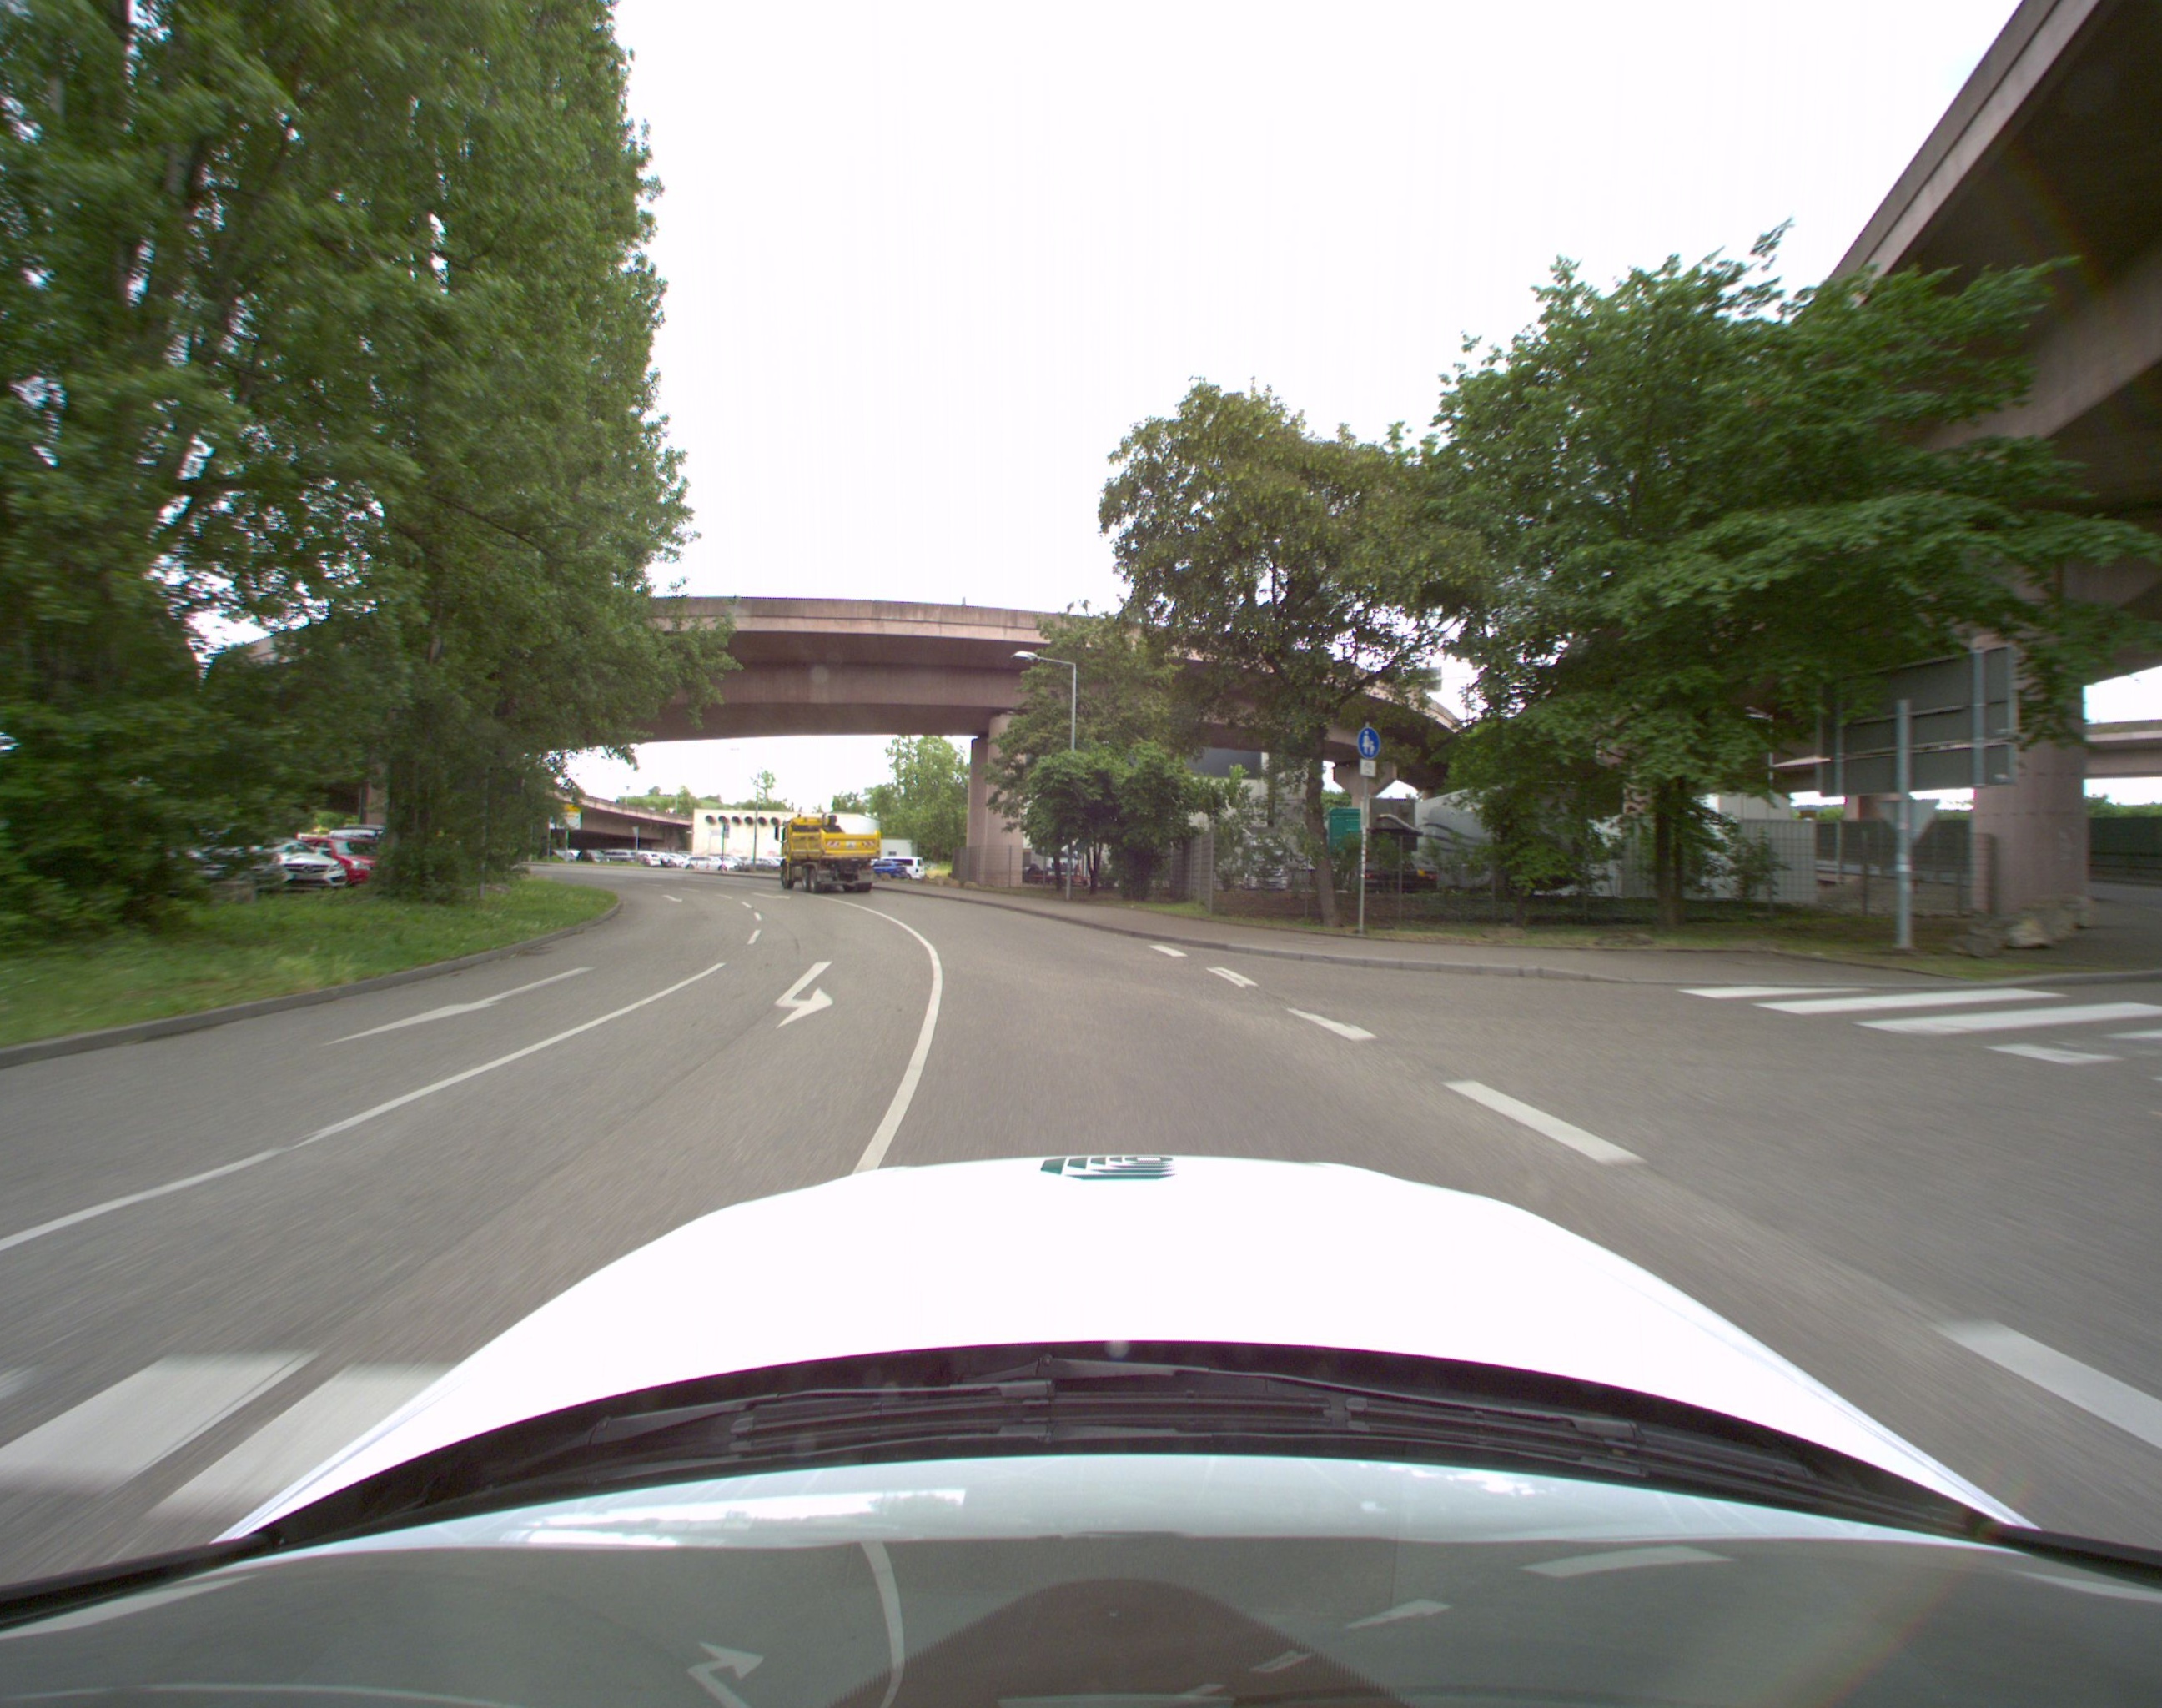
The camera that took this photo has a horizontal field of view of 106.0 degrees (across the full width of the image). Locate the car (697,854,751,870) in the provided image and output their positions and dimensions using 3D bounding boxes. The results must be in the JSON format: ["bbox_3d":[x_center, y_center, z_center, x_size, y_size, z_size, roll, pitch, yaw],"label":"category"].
[{"bbox_3d":[-32.255,0.714,73.716,3.975,1.442,1.999,0,-2,-1],"label":"car"}]

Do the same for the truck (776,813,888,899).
[{"bbox_3d":[-11.641,0.087,37.476,2.946,3.481,8.162,-1,0,-31],"label":"truck"}]

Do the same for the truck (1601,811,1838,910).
[{"bbox_3d":[20.959,0.178,27.336,2.905,2.899,6.559,0,0,1],"label":"truck"}]

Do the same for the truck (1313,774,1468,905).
[{"bbox_3d":[10.411,-0.452,28.266,3.053,3.963,6.928,0,0,3],"label":"truck"}]

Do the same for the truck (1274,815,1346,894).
[{"bbox_3d":[14.733,0.008,52.969,3.187,4.780,8.061,0,0,6],"label":"truck"}]

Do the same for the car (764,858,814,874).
[{"bbox_3d":[-27.616,1.150,77.063,3.975,1.442,1.999,0,-2,-1],"label":"car"}]

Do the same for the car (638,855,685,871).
[{"bbox_3d":[-43.868,0.919,85.228,3.858,1.633,1.776,0,-2,-1],"label":"car"}]

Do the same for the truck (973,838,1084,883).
[{"bbox_3d":[-3.337,0.405,49.966,7.141,2.552,2.740,-1,-1,45],"label":"truck"}]

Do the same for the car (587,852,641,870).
[{"bbox_3d":[-43.329,0.632,75.594,3.859,1.633,1.775,0,-2,-2],"label":"car"}]

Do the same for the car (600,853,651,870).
[{"bbox_3d":[-43.674,0.736,78.149,3.858,1.633,1.776,0,-2,-1],"label":"car"}]

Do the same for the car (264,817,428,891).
[{"bbox_3d":[-21.569,-0.010,23.899,4.395,2.014,2.011,1,-1,26],"label":"car"}]

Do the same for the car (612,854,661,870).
[{"bbox_3d":[-44.011,0.798,80.669,3.858,1.633,1.776,0,-2,-1],"label":"car"}]

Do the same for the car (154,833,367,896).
[{"bbox_3d":[-20.562,0.289,20.417,4.734,1.443,2.133,-1,-2,23],"label":"car"}]

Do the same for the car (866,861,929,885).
[{"bbox_3d":[-14.345,1.510,63.749,4.289,1.857,2.005,0,-2,9],"label":"car"}]

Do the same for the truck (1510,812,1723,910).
[{"bbox_3d":[17.529,0.183,27.300,2.905,2.899,6.559,0,0,1],"label":"truck"}]

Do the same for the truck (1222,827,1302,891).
[{"bbox_3d":[11.037,0.250,50.424,3.046,3.619,7.912,0,1,-1],"label":"truck"}]

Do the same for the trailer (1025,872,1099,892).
[{"bbox_3d":[-1.105,1.416,42.060,2.155,0.743,6.255,-2,1,-18],"label":"trailer"}]

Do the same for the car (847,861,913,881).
[{"bbox_3d":[-15.004,1.259,60.889,4.407,1.442,2.009,-1,-2,19],"label":"car"}]

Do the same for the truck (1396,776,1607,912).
[{"bbox_3d":[13.542,-0.318,27.240,3.055,3.868,8.049,0,0,1],"label":"truck"}]

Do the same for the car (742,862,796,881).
[{"bbox_3d":[-27.270,1.514,71.258,3.976,1.640,1.688,0,-2,-2],"label":"car"}]

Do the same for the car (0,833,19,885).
[{"bbox_3d":[-29.310,0.141,19.951,1.642,1.355,3.708,-1,0,23],"label":"car"}]

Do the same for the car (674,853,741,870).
[{"bbox_3d":[-32.632,0.639,71.242,4.806,1.442,1.999,0,-2,-1],"label":"car"}]

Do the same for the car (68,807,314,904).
[{"bbox_3d":[-18.274,0.071,16.740,4.347,1.791,2.027,-1,-2,23],"label":"car"}]

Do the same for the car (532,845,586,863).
[{"bbox_3d":[-48.617,0.032,75.890,3.858,1.633,1.776,0,-2,-1],"label":"car"}]

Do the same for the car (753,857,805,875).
[{"bbox_3d":[-27.451,1.108,74.092,3.976,1.640,1.998,0,-2,-2],"label":"car"}]

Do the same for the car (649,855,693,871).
[{"bbox_3d":[-44.109,0.994,87.651,3.858,1.633,1.776,0,-2,-1],"label":"car"}]

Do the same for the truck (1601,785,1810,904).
[{"bbox_3d":[25.208,-0.369,33.578,3.051,4.300,8.060,0,0,5],"label":"truck"}]
